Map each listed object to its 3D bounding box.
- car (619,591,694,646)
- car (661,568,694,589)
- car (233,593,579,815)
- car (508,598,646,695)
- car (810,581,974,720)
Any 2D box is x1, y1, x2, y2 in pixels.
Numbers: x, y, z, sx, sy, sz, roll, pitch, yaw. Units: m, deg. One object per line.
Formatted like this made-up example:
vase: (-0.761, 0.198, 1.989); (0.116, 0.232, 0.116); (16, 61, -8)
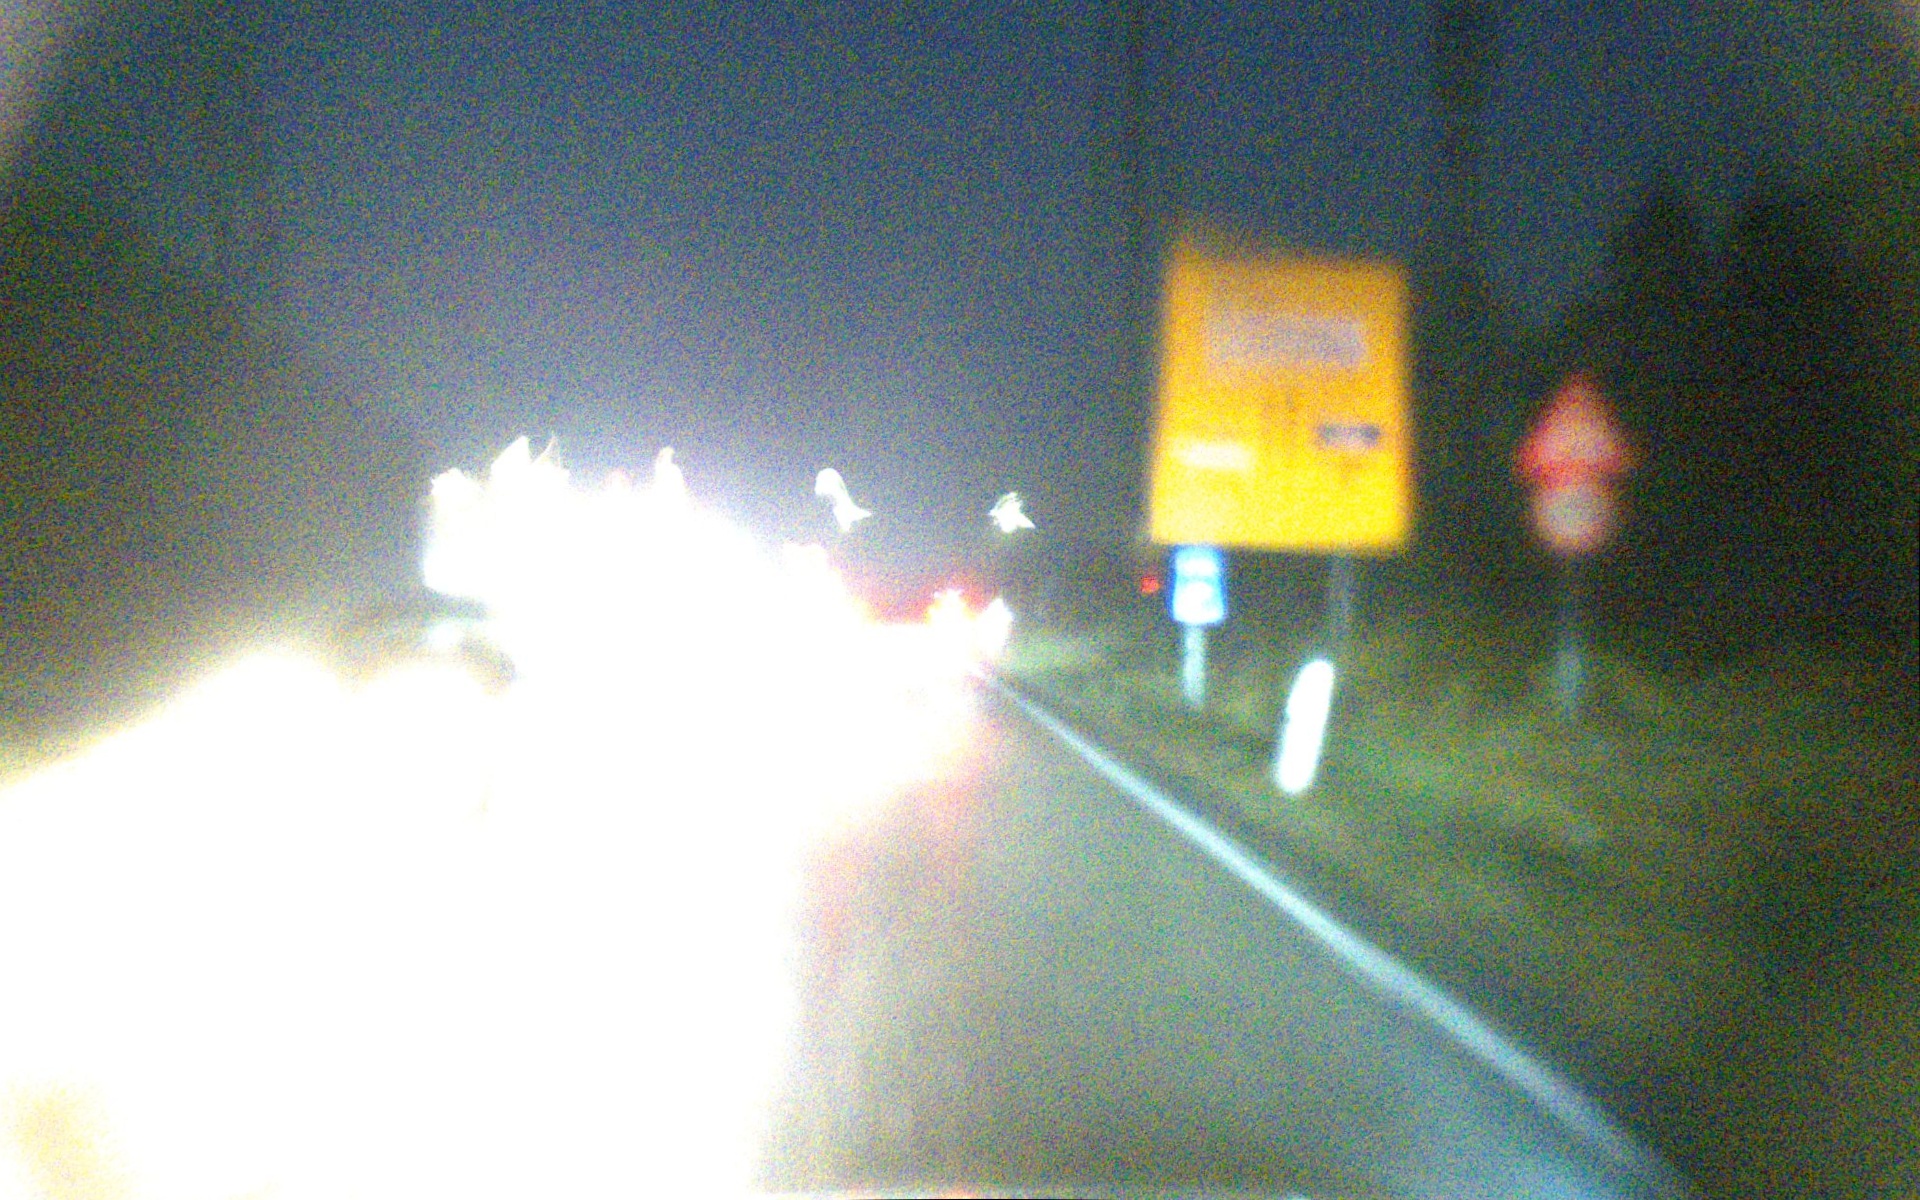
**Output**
car: (-8.309, 0.478, 45.079); (1.741, 1.413, 4.021); (1, 0, -14)
car: (-24.614, -1.902, 144.183); (1.964, 1.656, 4.956); (-2, 2, -20)
car: (-4.037, 0.679, 12.750); (1.738, 1.413, 4.225); (1, 0, -8)
car: (-6.063, 0.693, 26.581); (1.738, 1.413, 4.225); (1, 0, -8)
car: (-0.806, 0.619, 22.540); (1.952, 1.656, 4.984); (1, 0, 0)
